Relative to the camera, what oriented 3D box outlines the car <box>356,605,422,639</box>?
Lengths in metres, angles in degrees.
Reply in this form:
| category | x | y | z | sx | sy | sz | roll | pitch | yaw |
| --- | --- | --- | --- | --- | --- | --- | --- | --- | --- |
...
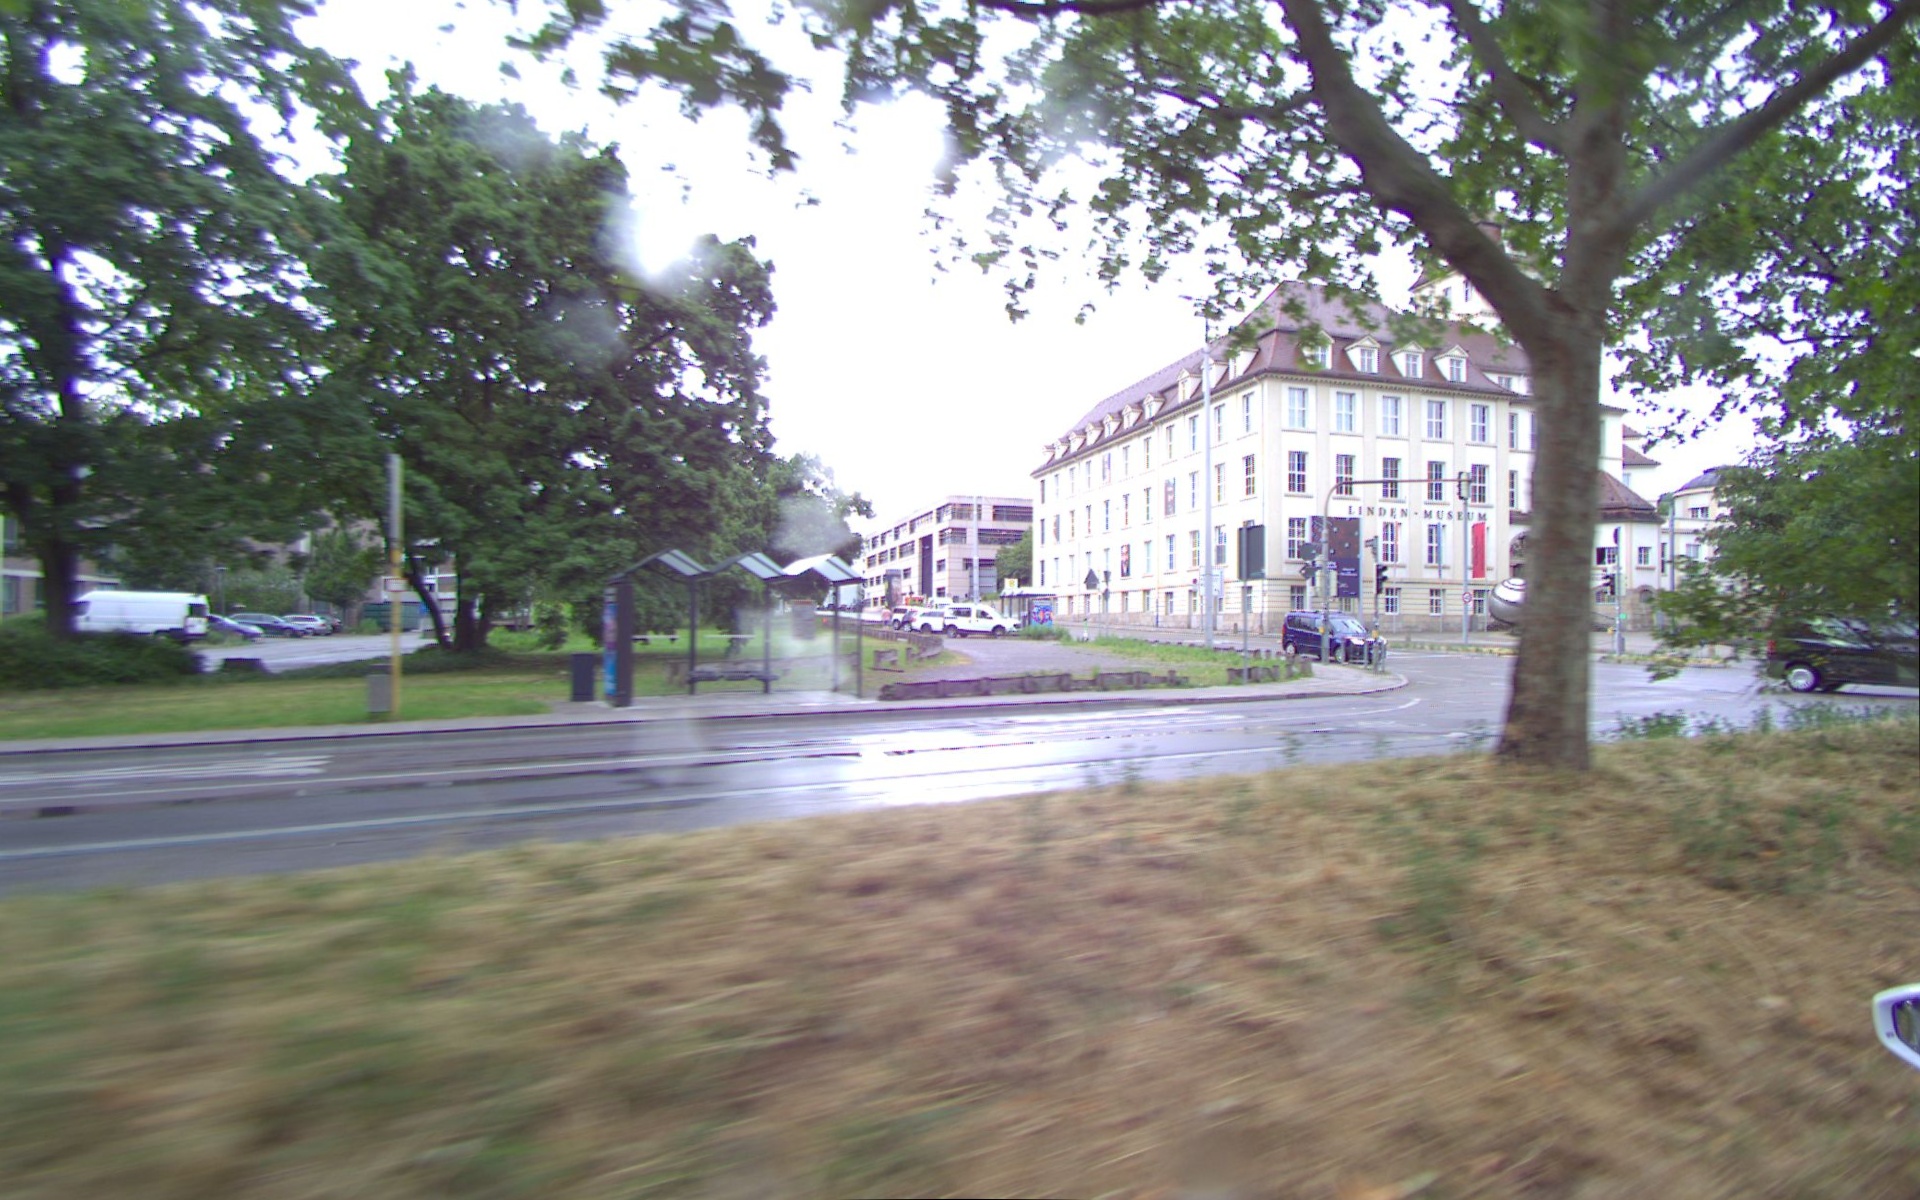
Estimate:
| category | x | y | z | sx | sy | sz | roll | pitch | yaw |
| --- | --- | --- | --- | --- | --- | --- | --- | --- | --- |
| car | -51.425 | 1.945 | 90.676 | 3.539 | 2.854 | 6.445 | 2 | -1 | -15 |

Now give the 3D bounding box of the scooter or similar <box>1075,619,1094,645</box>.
| category | x | y | z | sx | sy | sz | roll | pitch | yaw |
| --- | --- | --- | --- | --- | --- | --- | --- | --- | --- |
| scooter or similar | 5.895 | 1.508 | 47.437 | 0.541 | 1.182 | 1.253 | 2 | -1 | 21 |

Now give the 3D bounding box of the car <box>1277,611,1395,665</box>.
| category | x | y | z | sx | sy | sz | roll | pitch | yaw |
| --- | --- | --- | --- | --- | --- | --- | --- | --- | --- |
| car | 14.174 | 1.381 | 38.143 | 1.772 | 1.933 | 4.286 | 0 | -1 | -22 |

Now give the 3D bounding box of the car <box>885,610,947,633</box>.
| category | x | y | z | sx | sy | sz | roll | pitch | yaw |
| --- | --- | --- | --- | --- | --- | --- | --- | --- | --- |
| car | -3.089 | 1.493 | 70.105 | 4.006 | 1.461 | 1.849 | 1 | -1 | 34 |

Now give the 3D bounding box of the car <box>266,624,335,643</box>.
| category | x | y | z | sx | sy | sz | roll | pitch | yaw |
| --- | --- | --- | --- | --- | --- | --- | --- | --- | --- |
| car | -44.621 | 2.276 | 68.028 | 3.498 | 1.158 | 1.587 | 2 | -1 | -16 |

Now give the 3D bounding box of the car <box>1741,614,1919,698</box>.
| category | x | y | z | sx | sy | sz | roll | pitch | yaw |
| --- | --- | --- | --- | --- | --- | --- | --- | --- | --- |
| car | 21.208 | 1.249 | 23.083 | 1.974 | 1.833 | 4.755 | 1 | -2 | -26 |

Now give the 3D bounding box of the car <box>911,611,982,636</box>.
| category | x | y | z | sx | sy | sz | roll | pitch | yaw |
| --- | --- | --- | --- | --- | --- | --- | --- | --- | --- |
| car | -0.810 | 1.417 | 61.055 | 3.994 | 1.461 | 1.855 | 0 | -2 | 18 |

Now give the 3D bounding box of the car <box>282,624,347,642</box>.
| category | x | y | z | sx | sy | sz | roll | pitch | yaw |
| --- | --- | --- | --- | --- | --- | --- | --- | --- | --- |
| car | -45.386 | 2.328 | 70.698 | 3.498 | 1.158 | 1.587 | 2 | -1 | -16 |

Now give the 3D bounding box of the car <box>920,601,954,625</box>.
| category | x | y | z | sx | sy | sz | roll | pitch | yaw |
| --- | --- | --- | --- | --- | --- | --- | --- | --- | --- |
| car | -2.441 | 1.356 | 104.419 | 1.968 | 2.344 | 5.905 | 2 | -1 | -17 |

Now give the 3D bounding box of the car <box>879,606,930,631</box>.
| category | x | y | z | sx | sy | sz | roll | pitch | yaw |
| --- | --- | --- | --- | --- | --- | --- | --- | --- | --- |
| car | -4.098 | 1.357 | 73.929 | 1.837 | 1.765 | 4.032 | 1 | -2 | -37 |

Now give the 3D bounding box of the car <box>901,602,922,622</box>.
| category | x | y | z | sx | sy | sz | roll | pitch | yaw |
| --- | --- | --- | --- | --- | --- | --- | --- | --- | --- |
| car | -6.900 | 1.681 | 143.100 | 1.968 | 2.652 | 3.985 | 2 | -1 | -17 |

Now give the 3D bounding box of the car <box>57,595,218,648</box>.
| category | x | y | z | sx | sy | sz | roll | pitch | yaw |
| --- | --- | --- | --- | --- | --- | --- | --- | --- | --- |
| car | -38.583 | 1.013 | 47.263 | 5.374 | 2.242 | 2.110 | 2 | -1 | -13 |

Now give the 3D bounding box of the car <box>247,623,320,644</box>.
| category | x | y | z | sx | sy | sz | roll | pitch | yaw |
| --- | --- | --- | --- | --- | --- | --- | --- | --- | --- |
| car | -42.871 | 2.127 | 63.738 | 3.498 | 1.158 | 1.587 | 2 | -1 | -16 |

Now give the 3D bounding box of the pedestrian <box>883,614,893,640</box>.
| category | x | y | z | sx | sy | sz | roll | pitch | yaw |
| --- | --- | --- | --- | --- | --- | --- | --- | --- | --- |
| pedestrian | -4.398 | 1.636 | 61.097 | 0.557 | 1.548 | 0.670 | 2 | 0 | -6 |

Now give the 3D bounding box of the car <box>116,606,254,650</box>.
| category | x | y | z | sx | sy | sz | roll | pitch | yaw |
| --- | --- | --- | --- | --- | --- | --- | --- | --- | --- |
| car | -39.494 | 1.423 | 51.316 | 4.996 | 2.049 | 2.281 | 2 | -1 | -16 |

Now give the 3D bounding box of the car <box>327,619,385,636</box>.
| category | x | y | z | sx | sy | sz | roll | pitch | yaw |
| --- | --- | --- | --- | --- | --- | --- | --- | --- | --- |
| car | -46.954 | 2.169 | 78.116 | 3.498 | 1.158 | 1.587 | 2 | -1 | -16 |

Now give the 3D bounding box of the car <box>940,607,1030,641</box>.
| category | x | y | z | sx | sy | sz | roll | pitch | yaw |
| --- | --- | --- | --- | --- | --- | --- | --- | --- | --- |
| car | 1.323 | 1.274 | 53.627 | 4.421 | 1.791 | 1.832 | 0 | -2 | 25 |

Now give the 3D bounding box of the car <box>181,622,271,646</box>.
| category | x | y | z | sx | sy | sz | roll | pitch | yaw |
| --- | --- | --- | --- | --- | --- | --- | --- | --- | --- |
| car | -39.576 | 1.832 | 54.258 | 3.498 | 1.158 | 1.684 | 2 | -1 | -16 |
